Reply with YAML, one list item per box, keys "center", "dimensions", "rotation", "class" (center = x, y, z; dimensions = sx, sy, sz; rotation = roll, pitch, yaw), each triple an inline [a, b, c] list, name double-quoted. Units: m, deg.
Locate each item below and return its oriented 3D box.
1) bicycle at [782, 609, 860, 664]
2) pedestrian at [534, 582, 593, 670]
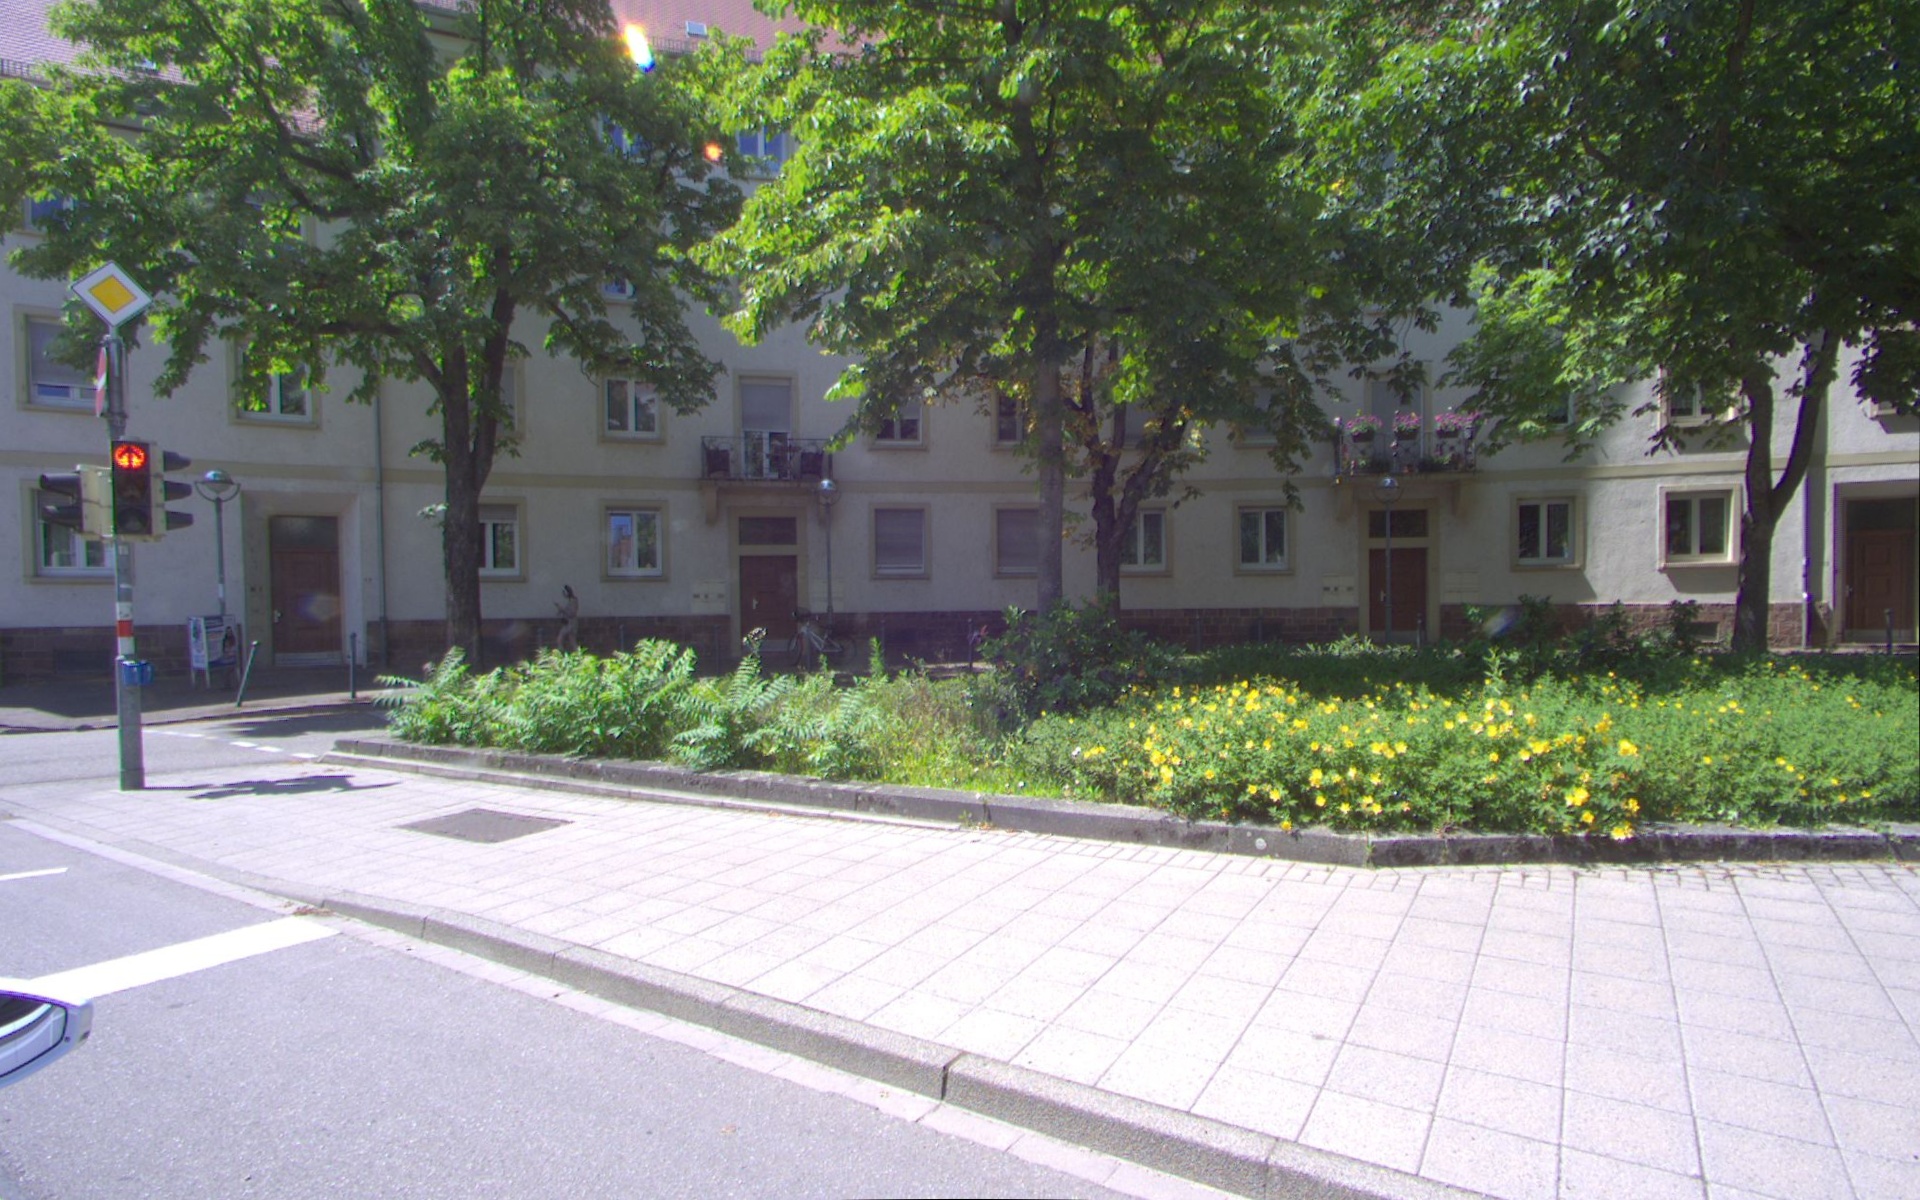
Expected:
- center: [-2.885, 0.754, 20.869]
  dimensions: [1.575, 1.119, 0.525]
  rotation: [-1, 1, -4]
  class: "bicycle"
- center: [-8.283, 0.522, 20.957]
  dimensions: [1.039, 1.715, 0.650]
  rotation: [-3, 7, -22]
  class: "pedestrian"
